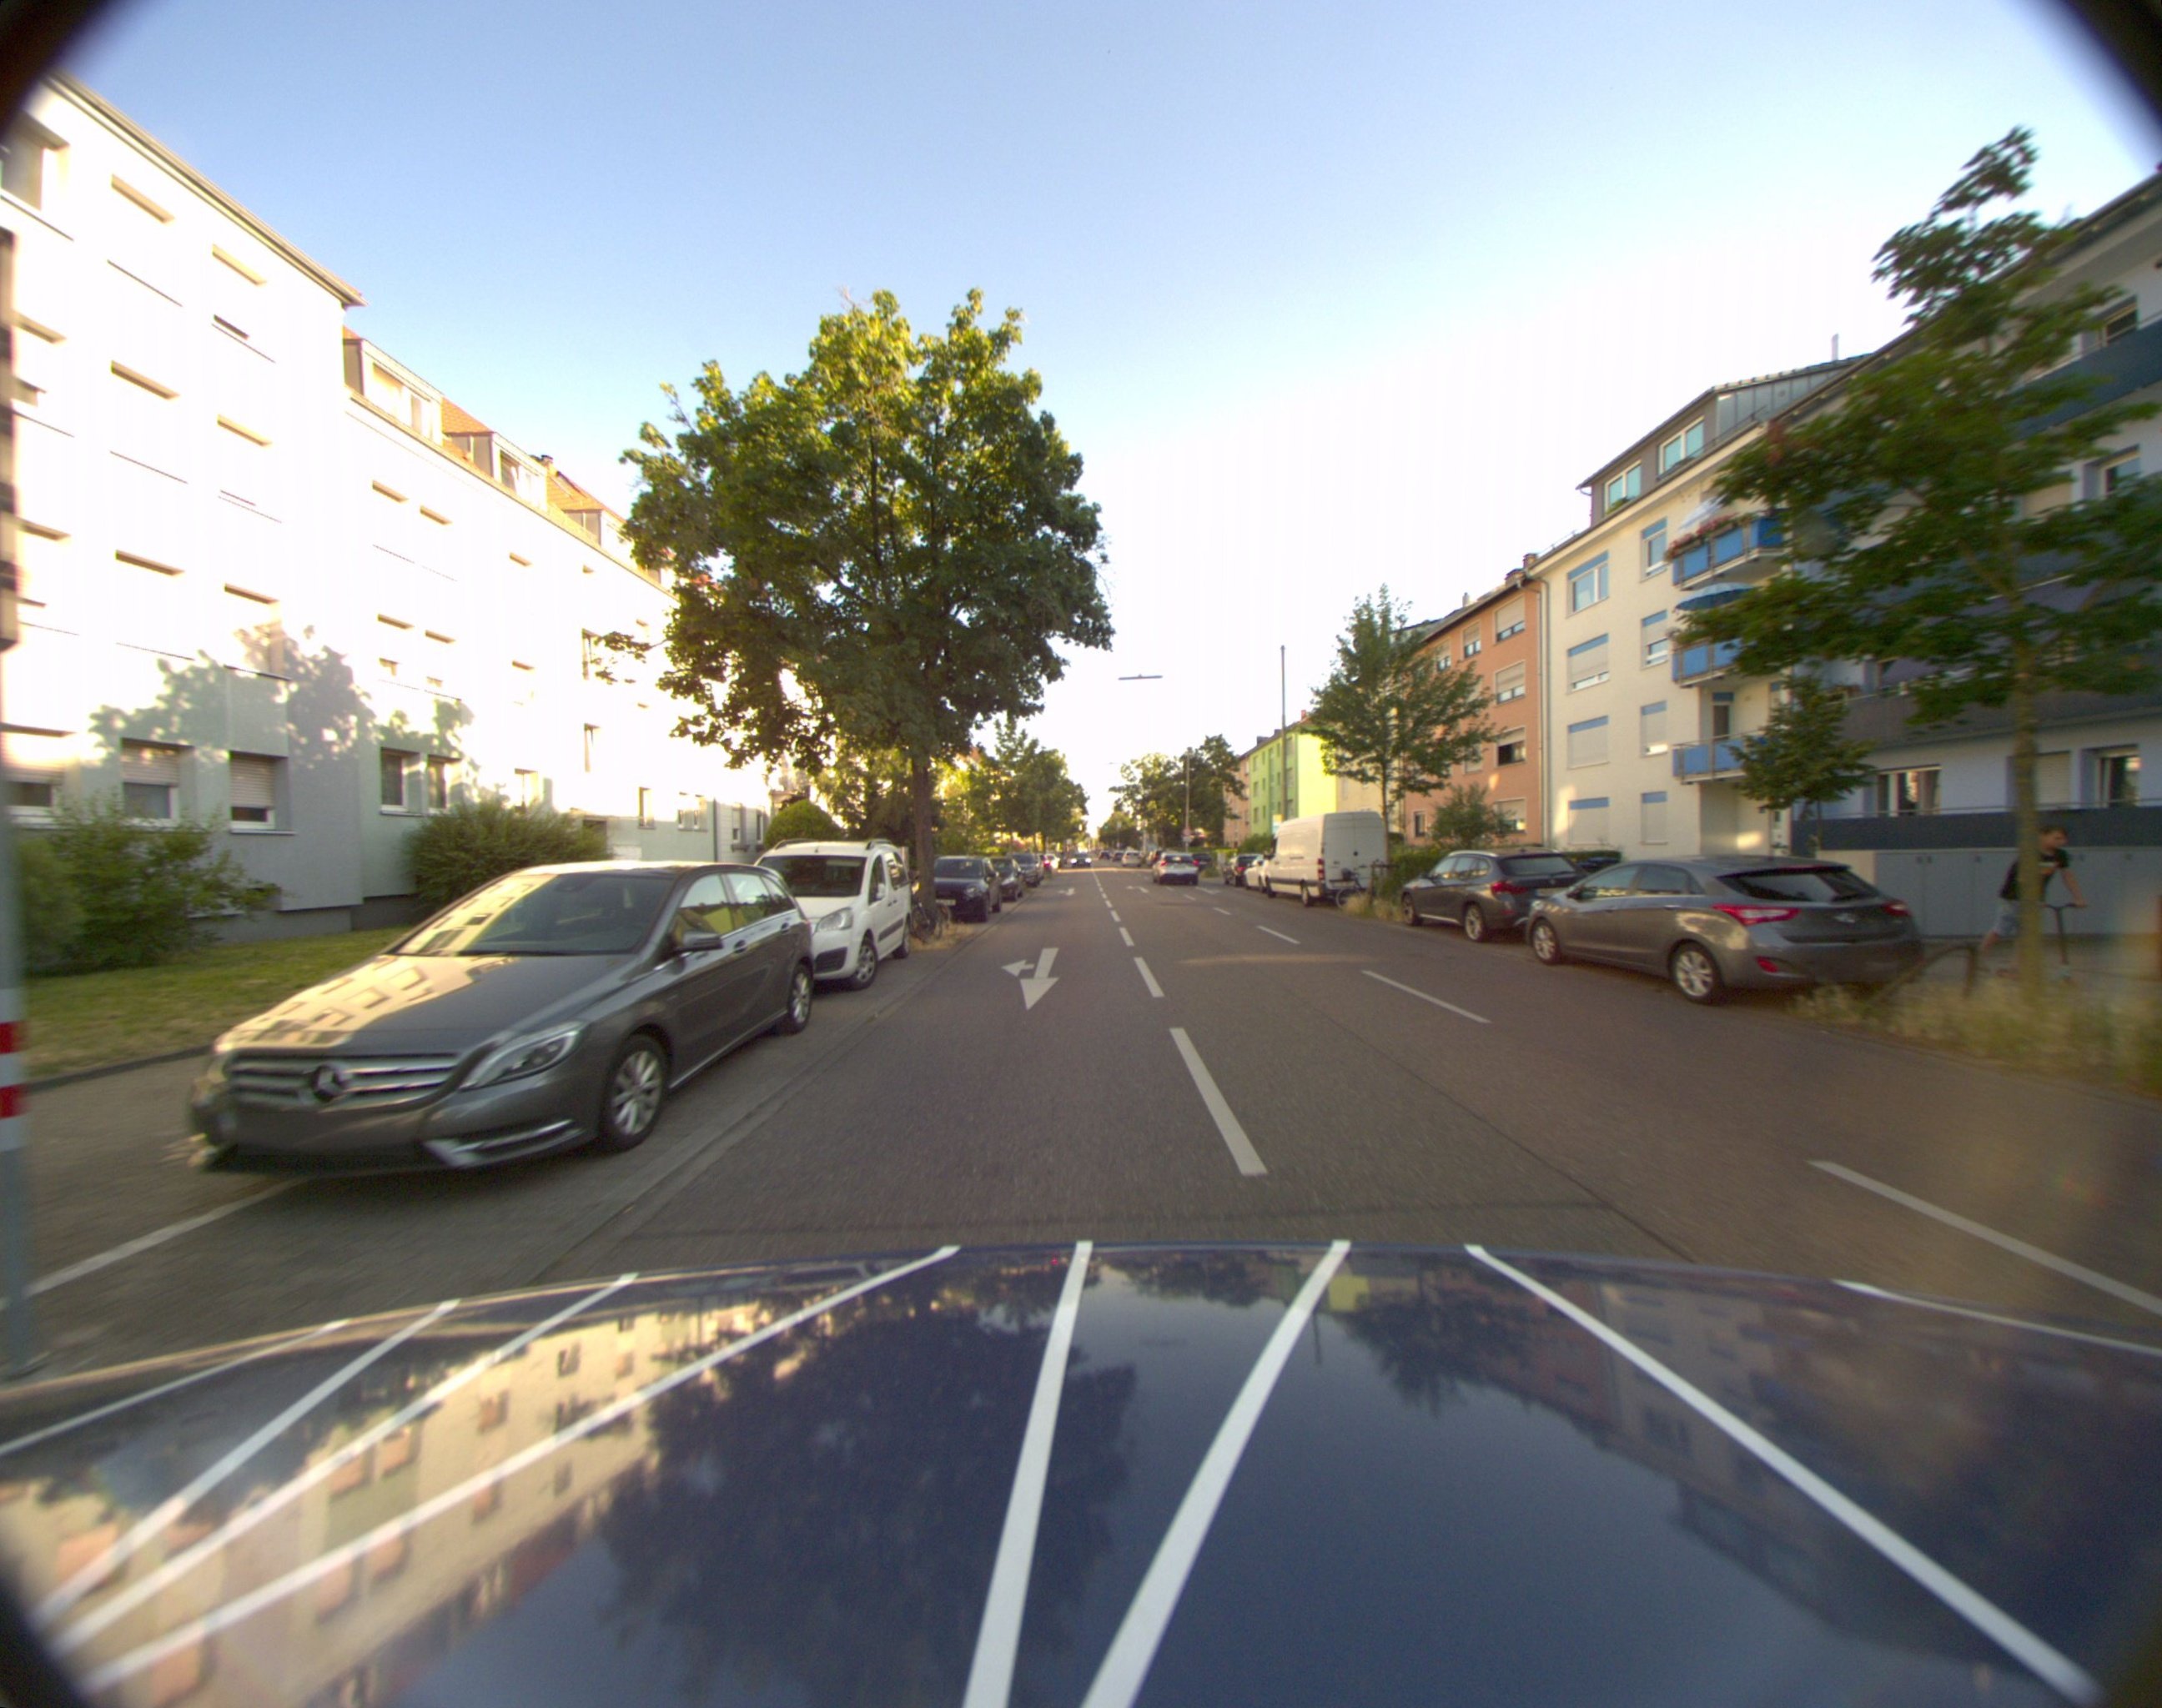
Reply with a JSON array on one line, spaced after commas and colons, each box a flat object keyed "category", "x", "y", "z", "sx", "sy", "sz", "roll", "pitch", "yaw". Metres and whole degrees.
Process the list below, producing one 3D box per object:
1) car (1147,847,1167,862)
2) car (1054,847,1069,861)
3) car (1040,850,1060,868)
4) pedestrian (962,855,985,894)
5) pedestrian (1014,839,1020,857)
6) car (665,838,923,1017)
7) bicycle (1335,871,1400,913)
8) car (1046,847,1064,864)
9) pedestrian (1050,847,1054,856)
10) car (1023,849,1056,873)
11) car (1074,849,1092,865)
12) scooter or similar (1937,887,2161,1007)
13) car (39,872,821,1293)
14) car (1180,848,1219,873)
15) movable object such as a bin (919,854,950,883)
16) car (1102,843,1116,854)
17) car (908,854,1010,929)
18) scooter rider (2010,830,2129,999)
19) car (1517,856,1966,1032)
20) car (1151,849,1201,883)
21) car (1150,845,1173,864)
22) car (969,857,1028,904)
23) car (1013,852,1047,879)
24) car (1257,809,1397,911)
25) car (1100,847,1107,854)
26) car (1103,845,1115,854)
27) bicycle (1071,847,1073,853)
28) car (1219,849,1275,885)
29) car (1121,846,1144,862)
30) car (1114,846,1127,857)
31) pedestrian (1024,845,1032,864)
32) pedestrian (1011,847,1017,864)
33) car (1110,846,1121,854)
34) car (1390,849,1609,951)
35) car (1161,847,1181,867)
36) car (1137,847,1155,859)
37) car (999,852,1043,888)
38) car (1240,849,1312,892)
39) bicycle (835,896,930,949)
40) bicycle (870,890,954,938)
[{"category": "car", "x": 8.012, "y": 0.041, "z": 80.361, "sx": 1.687, "sy": 1.512, "sz": 4.190, "roll": -1, "pitch": 1, "yaw": -1}, {"category": "car", "x": -2.365, "y": -0.061, "z": 94.029, "sx": 1.796, "sy": 1.622, "sz": 4.028, "roll": -2, "pitch": 1, "yaw": 0}, {"category": "car", "x": -2.677, "y": 0.395, "z": 66.394, "sx": 1.641, "sy": 1.482, "sz": 4.415, "roll": 0, "pitch": 1, "yaw": 0}, {"category": "pedestrian", "x": -4.789, "y": 0.887, "z": 33.962, "sx": 0.790, "sy": 1.691, "sz": 0.808, "roll": -2, "pitch": 1, "yaw": 5}, {"category": "pedestrian", "x": -6.262, "y": -0.561, "z": 73.971, "sx": 0.512, "sy": 1.687, "sz": 0.527, "roll": -1, "pitch": 1, "yaw": -4}, {"category": "car", "x": -3.463, "y": 0.754, "z": 10.186, "sx": 1.805, "sy": 1.798, "sz": 4.422, "roll": -3, "pitch": 1, "yaw": -2}, {"category": "bicycle", "x": 7.359, "y": 0.969, "z": 19.565, "sx": 1.475, "sy": 1.009, "sz": 0.440, "roll": -2, "pitch": 1, "yaw": 8}, {"category": "car", "x": -2.619, "y": 0.137, "z": 76.785, "sx": 1.726, "sy": 1.646, "sz": 4.596, "roll": -2, "pitch": 1, "yaw": -2}, {"category": "pedestrian", "x": -5.634, "y": -0.463, "z": 147.294, "sx": 0.830, "sy": 1.673, "sz": 0.660, "roll": 0, "pitch": 1, "yaw": 4}, {"category": "car", "x": -2.926, "y": 0.461, "z": 54.367, "sx": 1.879, "sy": 1.572, "sz": 4.820, "roll": 0, "pitch": 1, "yaw": 2}, {"category": "car", "x": 0.195, "y": 0.304, "z": 75.171, "sx": 1.641, "sy": 1.482, "sz": 4.415, "roll": 0, "pitch": 1, "yaw": 0}, {"category": "scooter or similar", "x": 9.751, "y": 0.882, "z": 7.690, "sx": 0.465, "sy": 1.009, "sz": 1.590, "roll": -1, "pitch": 1, "yaw": 5}, {"category": "car", "x": -3.320, "y": 0.968, "z": 5.180, "sx": 1.759, "sy": 1.548, "sz": 4.251, "roll": 0, "pitch": 1, "yaw": -2}, {"category": "car", "x": 7.650, "y": 0.390, "z": 49.276, "sx": 1.783, "sy": 1.496, "sz": 4.588, "roll": -1, "pitch": 1, "yaw": 0}, {"category": "movable object such as a bin", "x": -7.785, "y": 0.750, "z": 40.544, "sx": 1.269, "sy": 1.484, "sz": 1.140, "roll": 1, "pitch": 1, "yaw": 10}, {"category": "car", "x": 4.490, "y": -0.903, "z": 121.289, "sx": 1.837, "sy": 1.462, "sz": 4.450, "roll": -5, "pitch": 1, "yaw": -2}, {"category": "car", "x": -2.944, "y": 0.845, "z": 19.278, "sx": 1.758, "sy": 1.653, "sz": 4.252, "roll": 0, "pitch": 1, "yaw": 2}, {"category": "scooter rider", "x": 9.766, "y": 0.578, "z": 7.526, "sx": 0.465, "sy": 1.621, "sz": 0.534, "roll": -1, "pitch": 1, "yaw": 4}, {"category": "car", "x": 6.995, "y": 0.804, "z": 8.758, "sx": 1.696, "sy": 1.475, "sz": 4.143, "roll": -1, "pitch": 1, "yaw": 3}, {"category": "car", "x": 4.429, "y": 0.530, "z": 36.016, "sx": 1.786, "sy": 1.486, "sz": 3.969, "roll": 1, "pitch": 1, "yaw": -2}, {"category": "car", "x": 7.959, "y": 0.033, "z": 75.276, "sx": 1.788, "sy": 1.723, "sz": 4.616, "roll": -1, "pitch": 1, "yaw": 1}, {"category": "car", "x": -2.812, "y": 0.873, "z": 26.573, "sx": 1.617, "sy": 1.457, "sz": 3.958, "roll": 0, "pitch": 1, "yaw": 0}, {"category": "car", "x": -2.958, "y": 0.643, "z": 44.630, "sx": 1.723, "sy": 1.485, "sz": 4.393, "roll": -1, "pitch": 1, "yaw": -1}, {"category": "car", "x": 7.291, "y": 0.121, "z": 23.516, "sx": 1.998, "sy": 2.601, "sz": 7.104, "roll": -2, "pitch": 1, "yaw": 0}, {"category": "car", "x": 6.236, "y": -1.054, "z": 208.308, "sx": 1.866, "sy": 1.819, "sz": 5.228, "roll": 1, "pitch": 1, "yaw": 4}, {"category": "car", "x": 4.399, "y": -0.654, "z": 120.069, "sx": 1.704, "sy": 1.395, "sz": 4.027, "roll": 1, "pitch": 1, "yaw": 0}, {"category": "bicycle", "x": -1.820, "y": -0.770, "z": 152.372, "sx": 0.325, "sy": 1.138, "sz": 1.799, "roll": -1, "pitch": 1, "yaw": -4}, {"category": "car", "x": 7.477, "y": 0.553, "z": 34.561, "sx": 1.616, "sy": 1.464, "sz": 3.812, "roll": -3, "pitch": 1, "yaw": 0}, {"category": "car", "x": 5.169, "y": 0.025, "z": 76.428, "sx": 1.884, "sy": 1.534, "sz": 4.266, "roll": 0, "pitch": 0, "yaw": -1}, {"category": "car", "x": 5.500, "y": -0.344, "z": 105.549, "sx": 1.703, "sy": 1.462, "sz": 4.295, "roll": 0, "pitch": 1, "yaw": 5}, {"category": "pedestrian", "x": -5.138, "y": 0.035, "z": 74.004, "sx": 0.549, "sy": 1.839, "sz": 0.764, "roll": -1, "pitch": 1, "yaw": 7}, {"category": "pedestrian", "x": -6.623, "y": 0.162, "z": 74.887, "sx": 0.512, "sy": 1.687, "sz": 0.527, "roll": -1, "pitch": 1, "yaw": -4}, {"category": "car", "x": 6.943, "y": -0.851, "z": 153.702, "sx": 1.820, "sy": 1.438, "sz": 4.109, "roll": 1, "pitch": 1, "yaw": -1}, {"category": "car", "x": 7.377, "y": 0.708, "z": 13.980, "sx": 1.676, "sy": 1.534, "sz": 4.473, "roll": -1, "pitch": 1, "yaw": 2}, {"category": "car", "x": 7.861, "y": 0.242, "z": 66.335, "sx": 1.502, "sy": 1.607, "sz": 2.861, "roll": -1, "pitch": 1, "yaw": 3}, {"category": "car", "x": 8.088, "y": -0.141, "z": 94.774, "sx": 1.641, "sy": 1.543, "sz": 3.784, "roll": -1, "pitch": 1, "yaw": -2}, {"category": "car", "x": -2.794, "y": 0.707, "z": 36.111, "sx": 1.722, "sy": 1.592, "sz": 4.095, "roll": -1, "pitch": 1, "yaw": 0}, {"category": "car", "x": 7.561, "y": 0.584, "z": 29.825, "sx": 1.711, "sy": 1.483, "sz": 4.058, "roll": -4, "pitch": 1, "yaw": 0}, {"category": "bicycle", "x": -3.471, "y": 1.195, "z": 13.364, "sx": 1.557, "sy": 0.864, "sz": 0.393, "roll": -1, "pitch": 1, "yaw": -8}, {"category": "bicycle", "x": -3.317, "y": 1.176, "z": 14.958, "sx": 1.556, "sy": 0.864, "sz": 0.393, "roll": -1, "pitch": 1, "yaw": -3}]
